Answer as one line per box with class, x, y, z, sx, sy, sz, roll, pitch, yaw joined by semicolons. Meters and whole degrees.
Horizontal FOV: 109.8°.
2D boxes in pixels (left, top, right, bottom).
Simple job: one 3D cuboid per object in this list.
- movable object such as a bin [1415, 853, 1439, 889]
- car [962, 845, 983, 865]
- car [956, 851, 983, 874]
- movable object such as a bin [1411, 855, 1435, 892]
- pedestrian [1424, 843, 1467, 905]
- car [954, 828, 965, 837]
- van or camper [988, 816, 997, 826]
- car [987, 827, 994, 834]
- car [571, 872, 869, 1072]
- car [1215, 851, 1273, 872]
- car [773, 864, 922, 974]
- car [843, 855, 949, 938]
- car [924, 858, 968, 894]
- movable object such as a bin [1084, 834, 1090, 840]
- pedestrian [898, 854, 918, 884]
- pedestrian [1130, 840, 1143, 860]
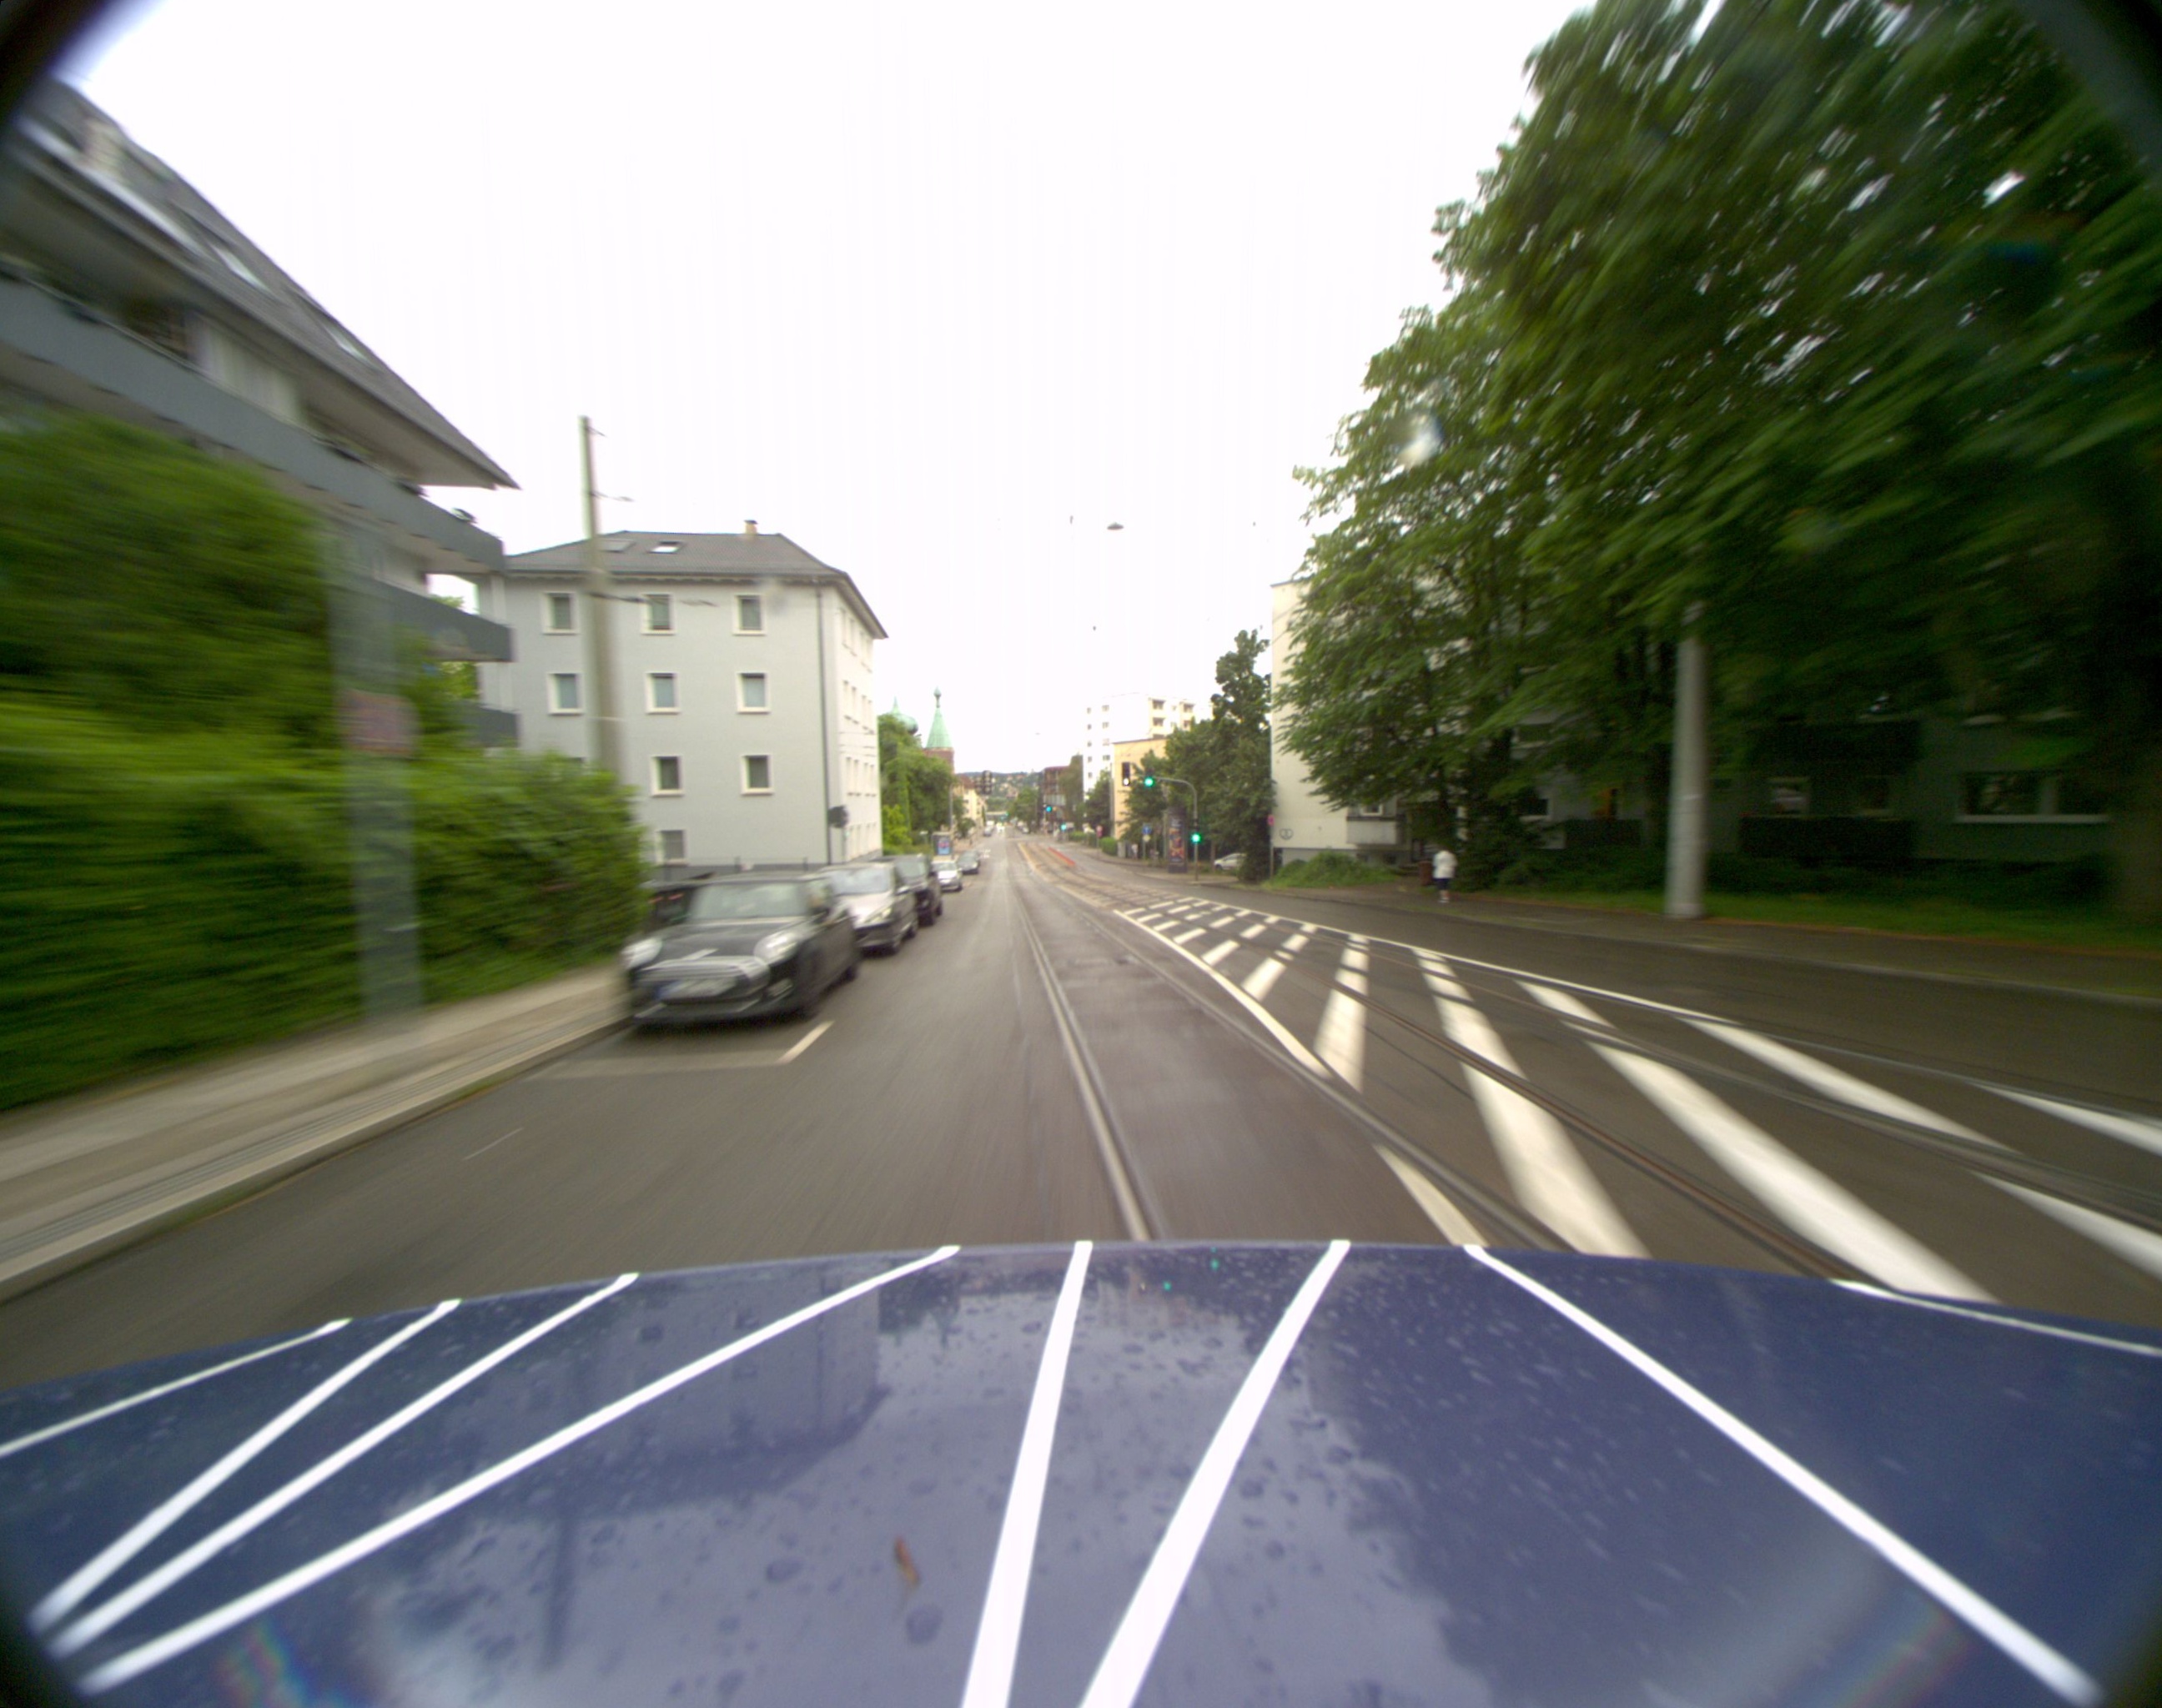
movable object such as a bin;12.524;0.615;27.492;0.625;1.227;0.668;2;7;42
car;-10.188;0.070;71.573;1.863;1.479;4.639;-3;3;-7
car;-8.758;0.613;59.655;1.946;1.456;4.201;-3;3;-8
movable object such as a bin;12.133;0.673;26.949;0.625;1.227;0.668;2;7;42
pedestrian;9.877;0.520;20.628;0.585;1.591;0.868;-4;2;-10
car;-23.993;-4.192;150.676;1.859;1.495;4.443;1;5;-5
van or camper;-29.144;-10.875;250.708;2.755;3.042;7.021;-2;5;-5
car;-21.688;-5.566;182.448;1.735;1.452;4.472;-3;5;-6
car;-3.549;1.032;8.317;1.710;1.418;3.859;-3;1;-7
car;13.412;0.600;62.513;4.147;1.473;2.003;2;6;40
car;-3.929;0.995;13.499;1.710;1.420;4.247;-3;1;-7
car;-4.449;0.928;18.931;1.912;1.632;4.685;-3;1;-7
car;-6.211;0.959;35.316;1.710;1.425;4.098;-3;1;-7
movable object such as a bin;0.903;-2.511;113.772;0.689;0.877;0.759;-3;5;-11
pedestrian;-9.309;0.818;40.871;0.885;1.574;0.801;-1;0;-4
pedestrian;5.303;-0.359;73.169;0.922;1.836;1.015;-4;5;-11
